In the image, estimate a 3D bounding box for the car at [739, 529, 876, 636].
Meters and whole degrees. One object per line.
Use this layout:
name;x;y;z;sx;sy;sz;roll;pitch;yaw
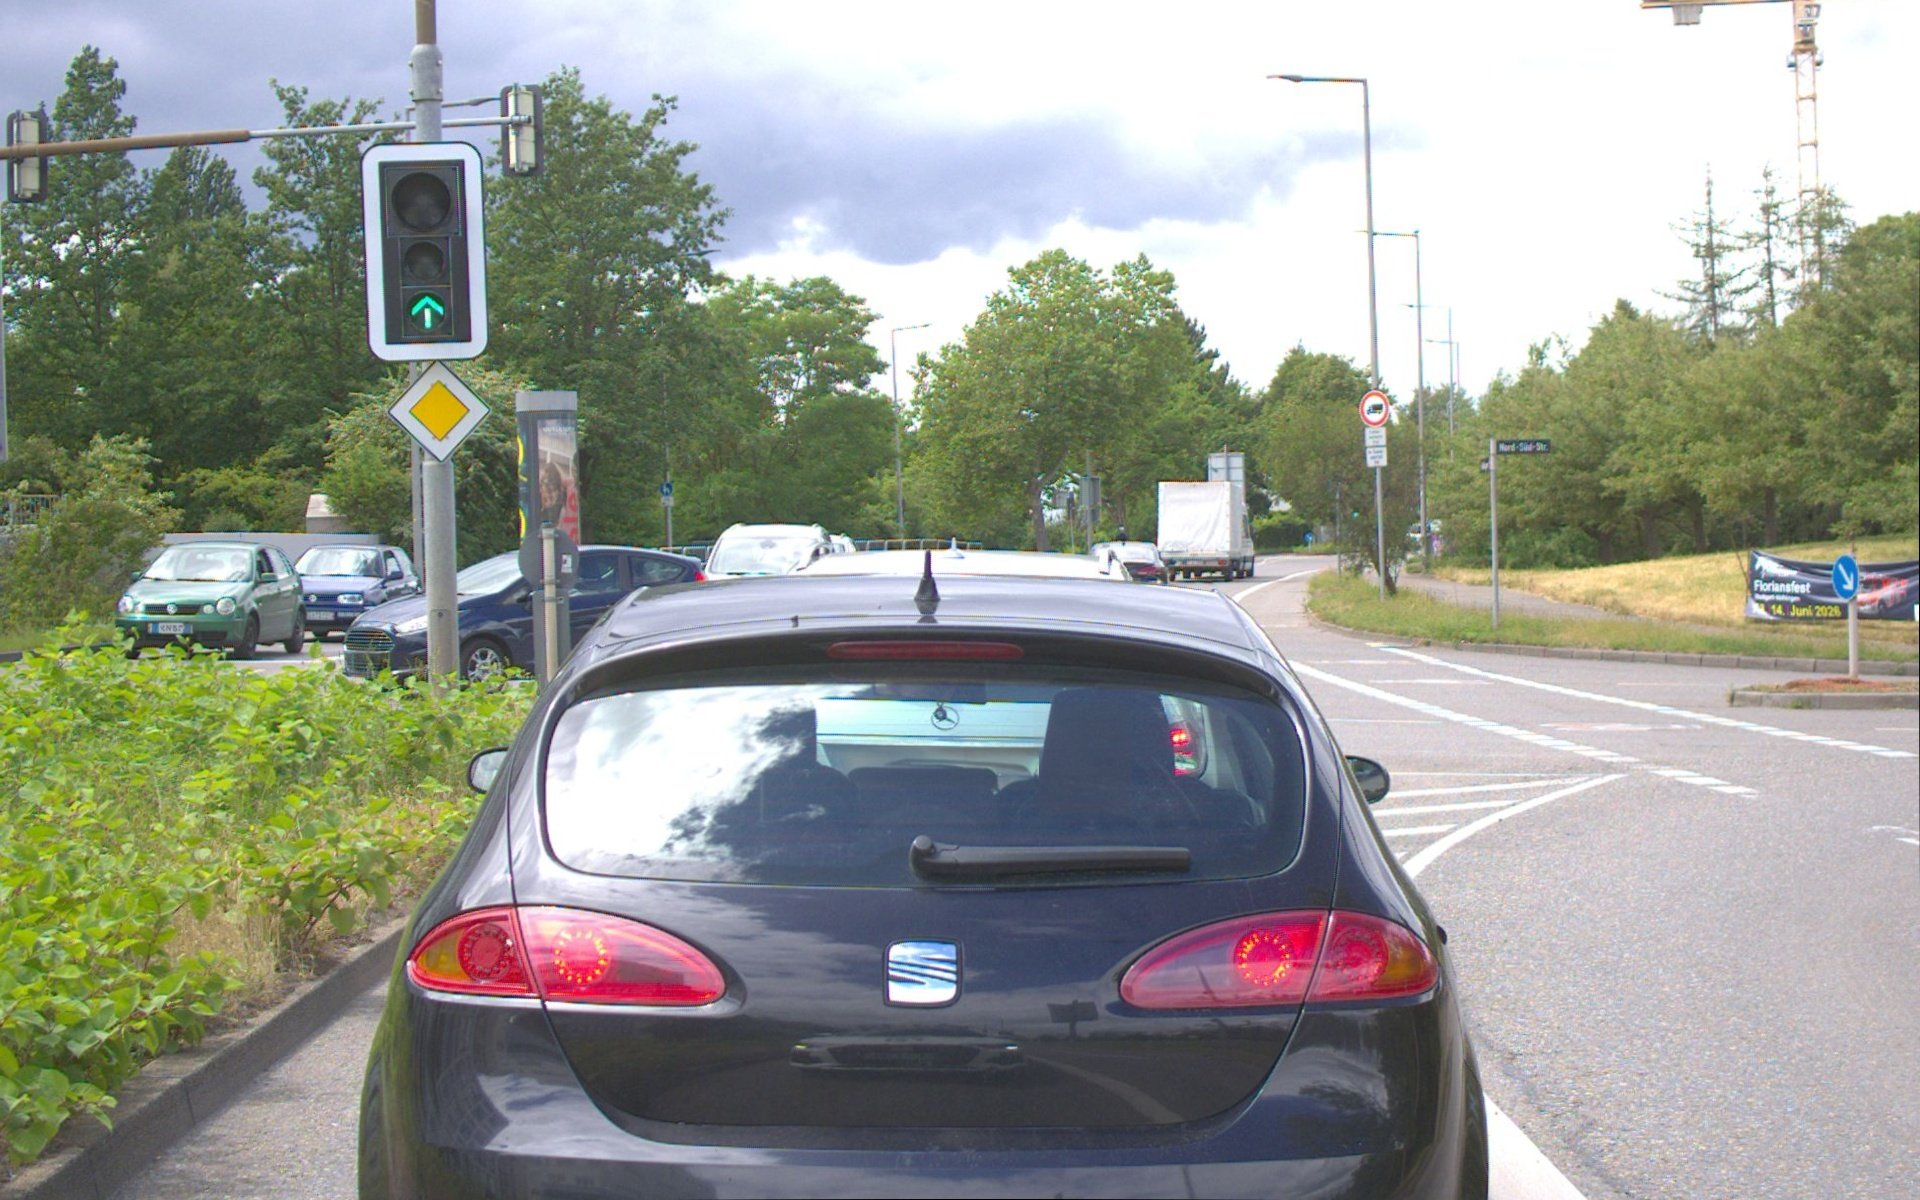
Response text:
car;-2.281;-0.298;52.290;1.660;1.513;4.084;1;1;4

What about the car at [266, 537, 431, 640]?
car;-8.962;-0.201;50.605;1.554;1.414;3.895;0;1;3

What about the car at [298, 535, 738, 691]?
car;-4.298;0.113;33.631;3.879;1.441;1.760;0;1;-36

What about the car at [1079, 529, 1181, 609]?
car;3.466;-0.647;69.825;1.994;1.560;4.470;0;1;3

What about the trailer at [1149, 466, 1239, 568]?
trailer;7.323;-2.543;107.028;2.492;3.063;5.585;1;1;6

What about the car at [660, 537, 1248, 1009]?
car;0.001;0.527;12.723;1.834;1.462;3.751;1;1;1

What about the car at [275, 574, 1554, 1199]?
car;-0.078;0.688;6.356;1.711;1.412;3.459;1;1;0

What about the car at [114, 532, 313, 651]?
car;-9.394;-0.135;43.494;1.605;1.427;3.752;0;1;2

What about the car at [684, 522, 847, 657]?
car;-2.568;-0.189;46.276;1.820;1.681;4.645;1;1;1

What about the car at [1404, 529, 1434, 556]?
car;27.371;-3.418;205.049;1.668;1.590;3.998;1;1;9
